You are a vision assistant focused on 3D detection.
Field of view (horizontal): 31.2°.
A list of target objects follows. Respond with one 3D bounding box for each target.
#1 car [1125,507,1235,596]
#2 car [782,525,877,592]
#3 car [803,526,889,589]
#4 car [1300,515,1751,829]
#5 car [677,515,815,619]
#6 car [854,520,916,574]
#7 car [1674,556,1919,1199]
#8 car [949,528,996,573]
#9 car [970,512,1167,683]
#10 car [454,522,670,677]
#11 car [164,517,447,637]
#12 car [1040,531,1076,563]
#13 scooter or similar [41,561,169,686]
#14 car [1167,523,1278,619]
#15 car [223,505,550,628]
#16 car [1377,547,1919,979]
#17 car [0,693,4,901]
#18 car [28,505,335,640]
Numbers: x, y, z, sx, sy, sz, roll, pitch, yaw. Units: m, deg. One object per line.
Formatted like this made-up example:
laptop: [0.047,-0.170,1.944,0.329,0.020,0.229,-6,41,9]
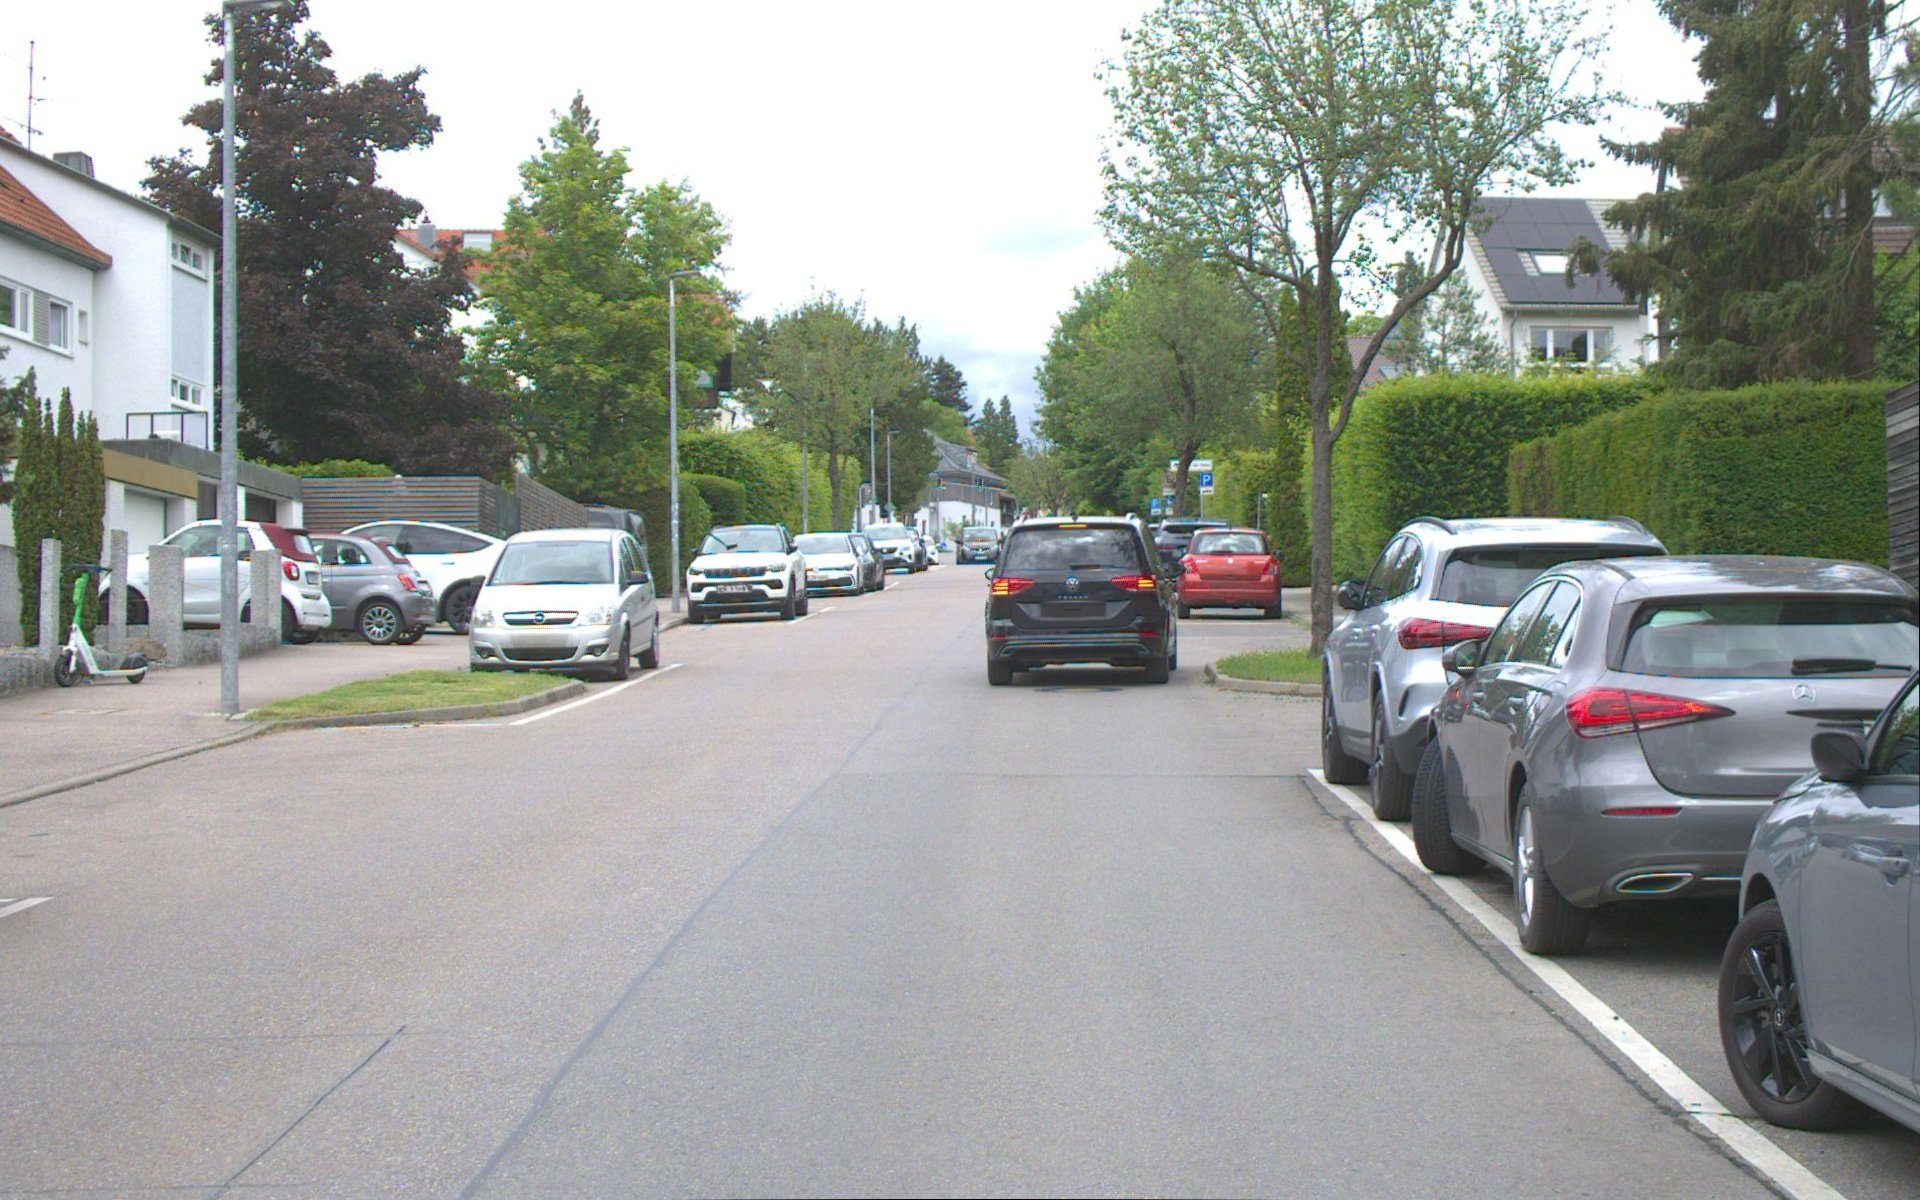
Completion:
car: [4.211,-0.940,66.404,1.994,1.612,4.513,1,1,3]
car: [-2.929,-0.960,77.870,1.837,1.417,4.408,-2,1,1]
car: [-2.726,-1.019,82.844,1.727,1.418,4.079,-2,1,2]
car: [3.054,0.331,19.393,1.855,1.576,4.172,0,1,0]
car: [-3.652,-0.605,59.419,1.837,1.660,4.408,-2,1,3]
car: [-2.220,-1.592,102.373,1.722,1.535,4.000,-2,1,0]
car: [2.930,0.641,7.633,1.855,1.459,4.000,0,1,0]
car: [0.573,-2.143,148.432,1.885,1.844,4.402,-1,1,1]
car: [1.133,-0.059,34.637,1.848,1.606,4.311,0,1,3]
car: [-4.285,-0.045,37.509,1.761,1.557,3.855,-2,1,2]
car: [-8.844,-0.310,46.627,3.429,1.507,1.692,2,0,3]
car: [5.249,-2.834,184.425,1.664,1.662,3.468,0,1,-2]
scooter or similar: [-8.150,0.210,32.810,0.474,1.144,1.453,2,1,18]
car: [4.301,-0.508,56.719,1.661,1.503,3.758,-1,1,2]
car: [-8.372,-0.503,50.441,4.411,1.623,1.911,2,1,1]
car: [2.847,0.522,13.730,1.855,1.459,4.172,0,1,0]
car: [-5.139,0.577,13.103,1.878,1.531,3.507,-1,1,2]
car: [-9.830,-0.345,43.544,3.429,1.572,1.656,2,0,3]
